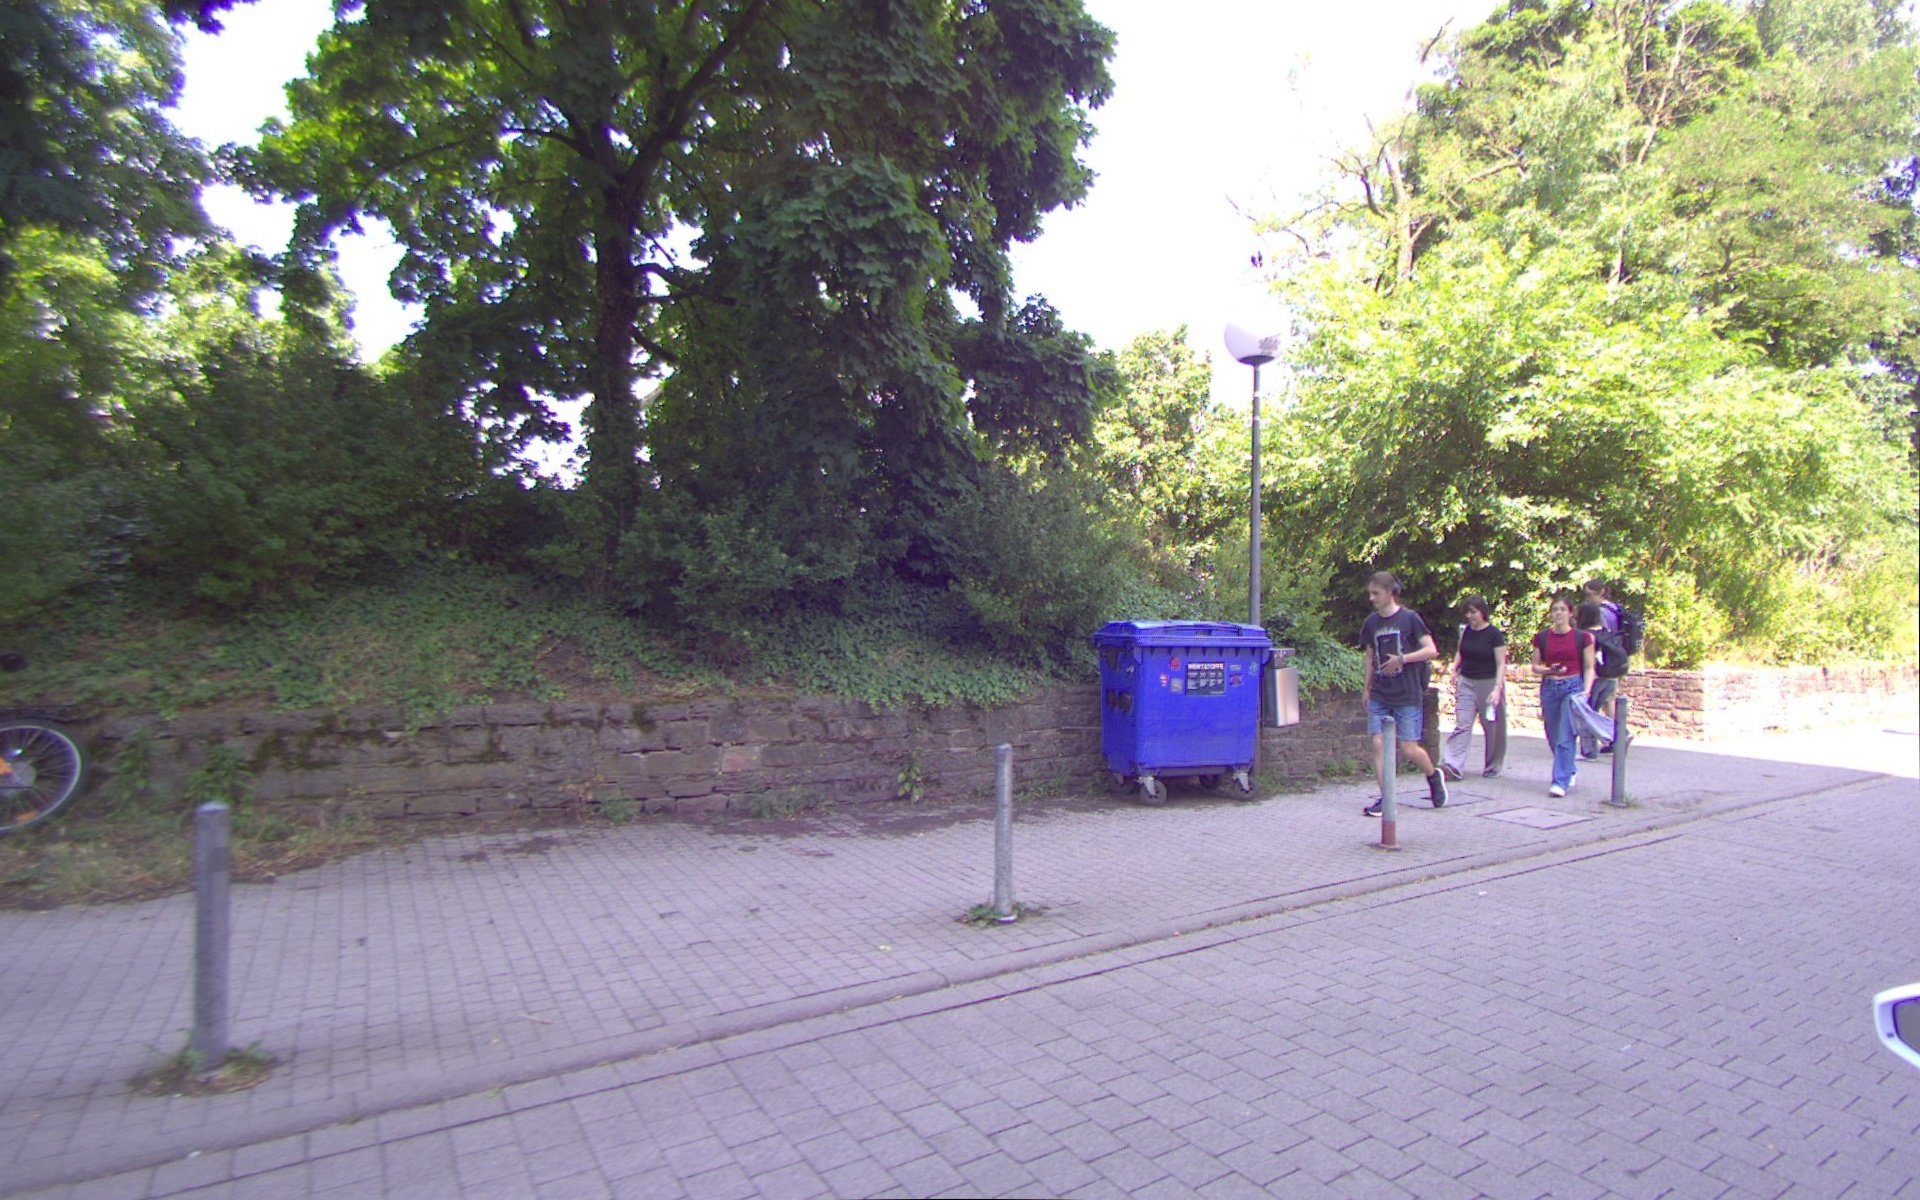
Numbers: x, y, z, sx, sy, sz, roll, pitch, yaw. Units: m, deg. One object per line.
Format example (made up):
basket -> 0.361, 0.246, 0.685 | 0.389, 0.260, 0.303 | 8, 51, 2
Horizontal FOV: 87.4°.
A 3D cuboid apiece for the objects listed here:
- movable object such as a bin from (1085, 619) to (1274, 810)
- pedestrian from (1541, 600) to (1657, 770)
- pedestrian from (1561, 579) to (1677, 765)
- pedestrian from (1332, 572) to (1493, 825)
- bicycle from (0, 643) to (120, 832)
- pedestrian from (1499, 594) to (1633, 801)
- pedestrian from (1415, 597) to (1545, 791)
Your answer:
movable object such as a bin -> 1.701, 0.846, 7.825 | 1.221, 1.354, 0.707 | 1, 1, -23
pedestrian -> 6.494, 0.834, 10.217 | 0.678, 1.642, 0.775 | 2, -1, -35
pedestrian -> 6.994, 0.737, 10.666 | 0.678, 1.868, 0.820 | 2, -1, -35
pedestrian -> 3.398, 0.699, 7.534 | 1.011, 1.751, 0.677 | 2, -1, -37
bicycle -> -5.386, 0.673, 5.045 | 1.713, 0.922, 0.421 | 3, -1, -18
pedestrian -> 5.147, 0.790, 8.531 | 0.905, 1.642, 0.677 | 2, -1, -37
pedestrian -> 4.690, 0.809, 9.052 | 0.970, 1.642, 0.677 | 2, -1, -37
